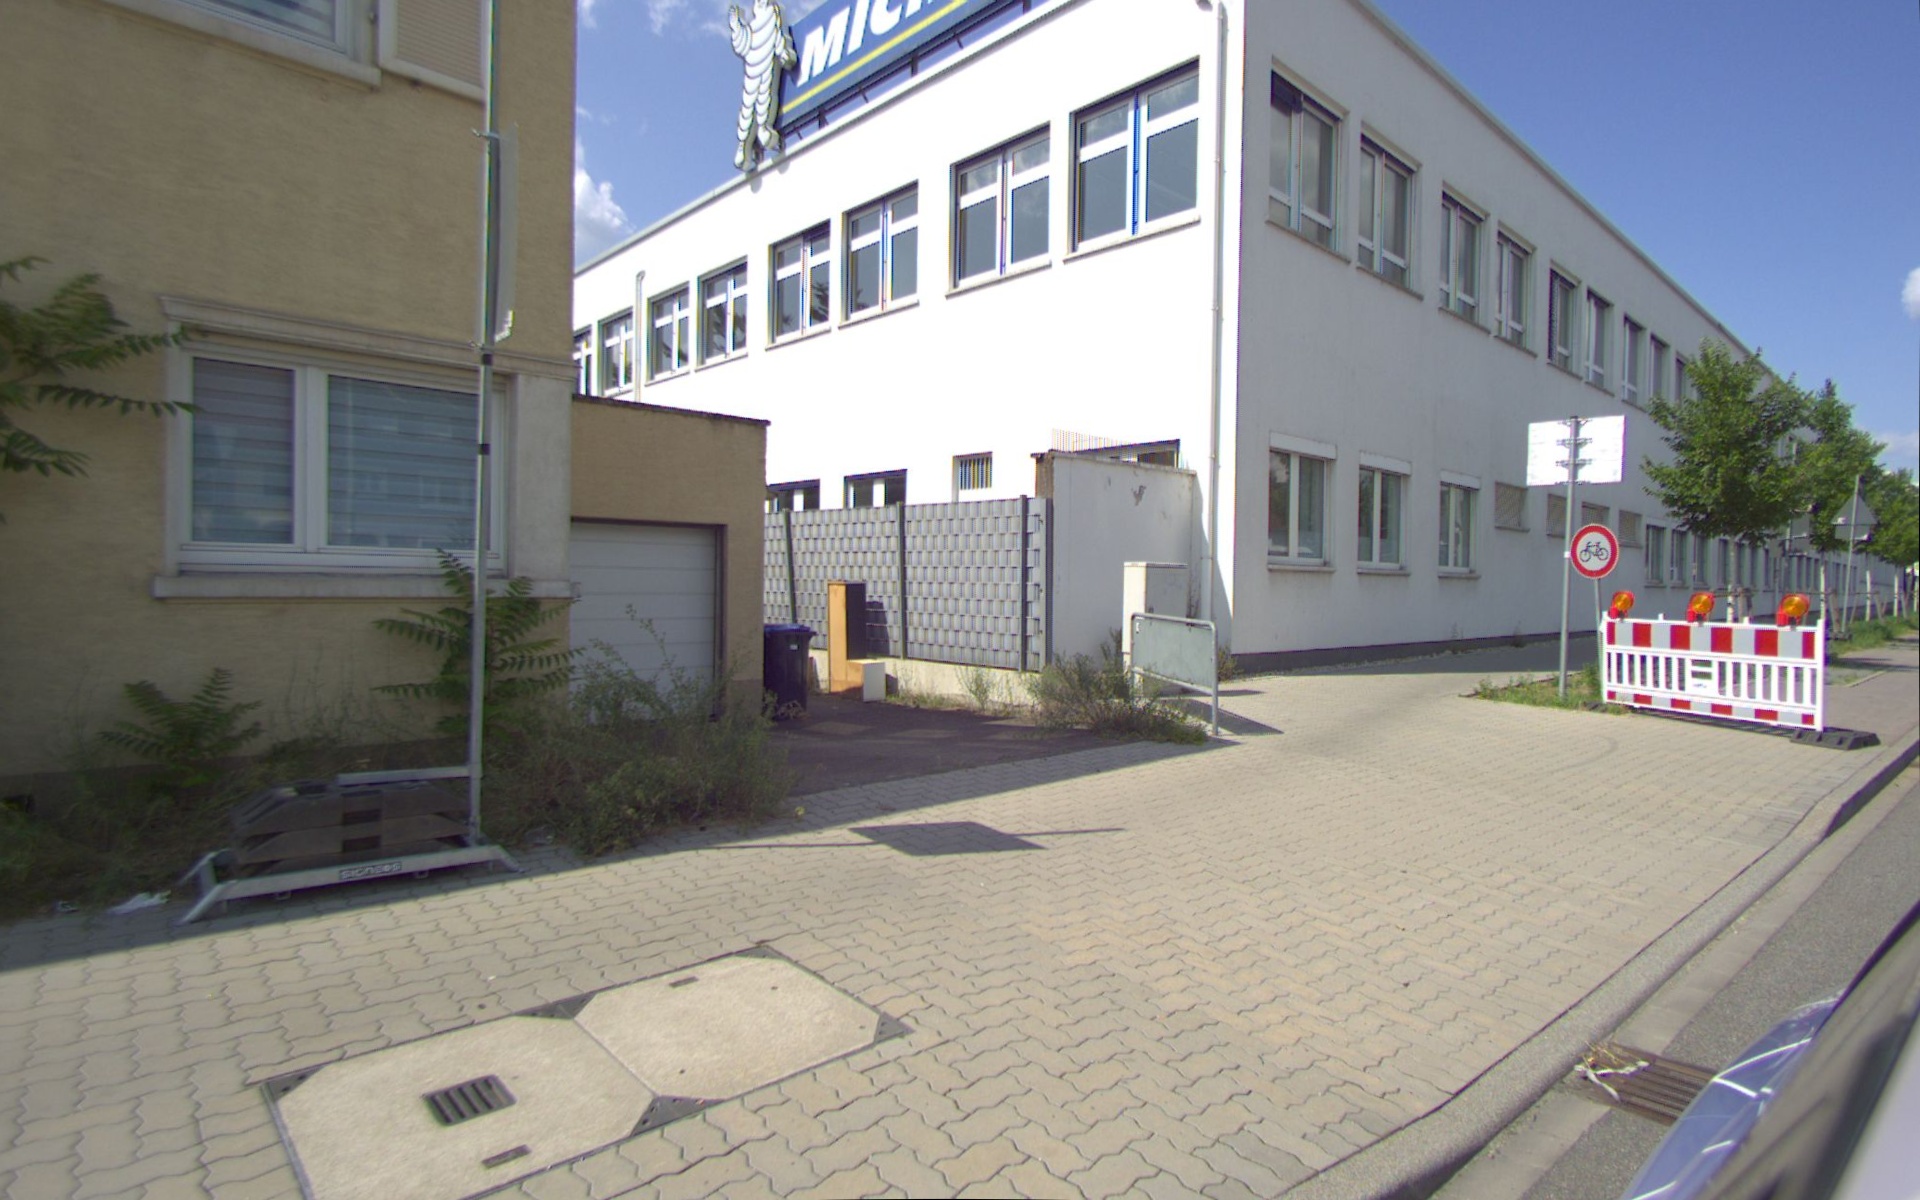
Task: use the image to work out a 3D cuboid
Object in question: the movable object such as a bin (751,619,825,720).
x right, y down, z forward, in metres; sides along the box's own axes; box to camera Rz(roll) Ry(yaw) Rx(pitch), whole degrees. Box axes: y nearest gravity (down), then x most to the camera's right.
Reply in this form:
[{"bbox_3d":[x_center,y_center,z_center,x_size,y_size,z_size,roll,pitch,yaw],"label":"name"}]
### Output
[{"bbox_3d":[-1.998,0.785,11.737,0.654,1.101,0.616,-1,0,-31],"label":"movable object such as a bin"}]
